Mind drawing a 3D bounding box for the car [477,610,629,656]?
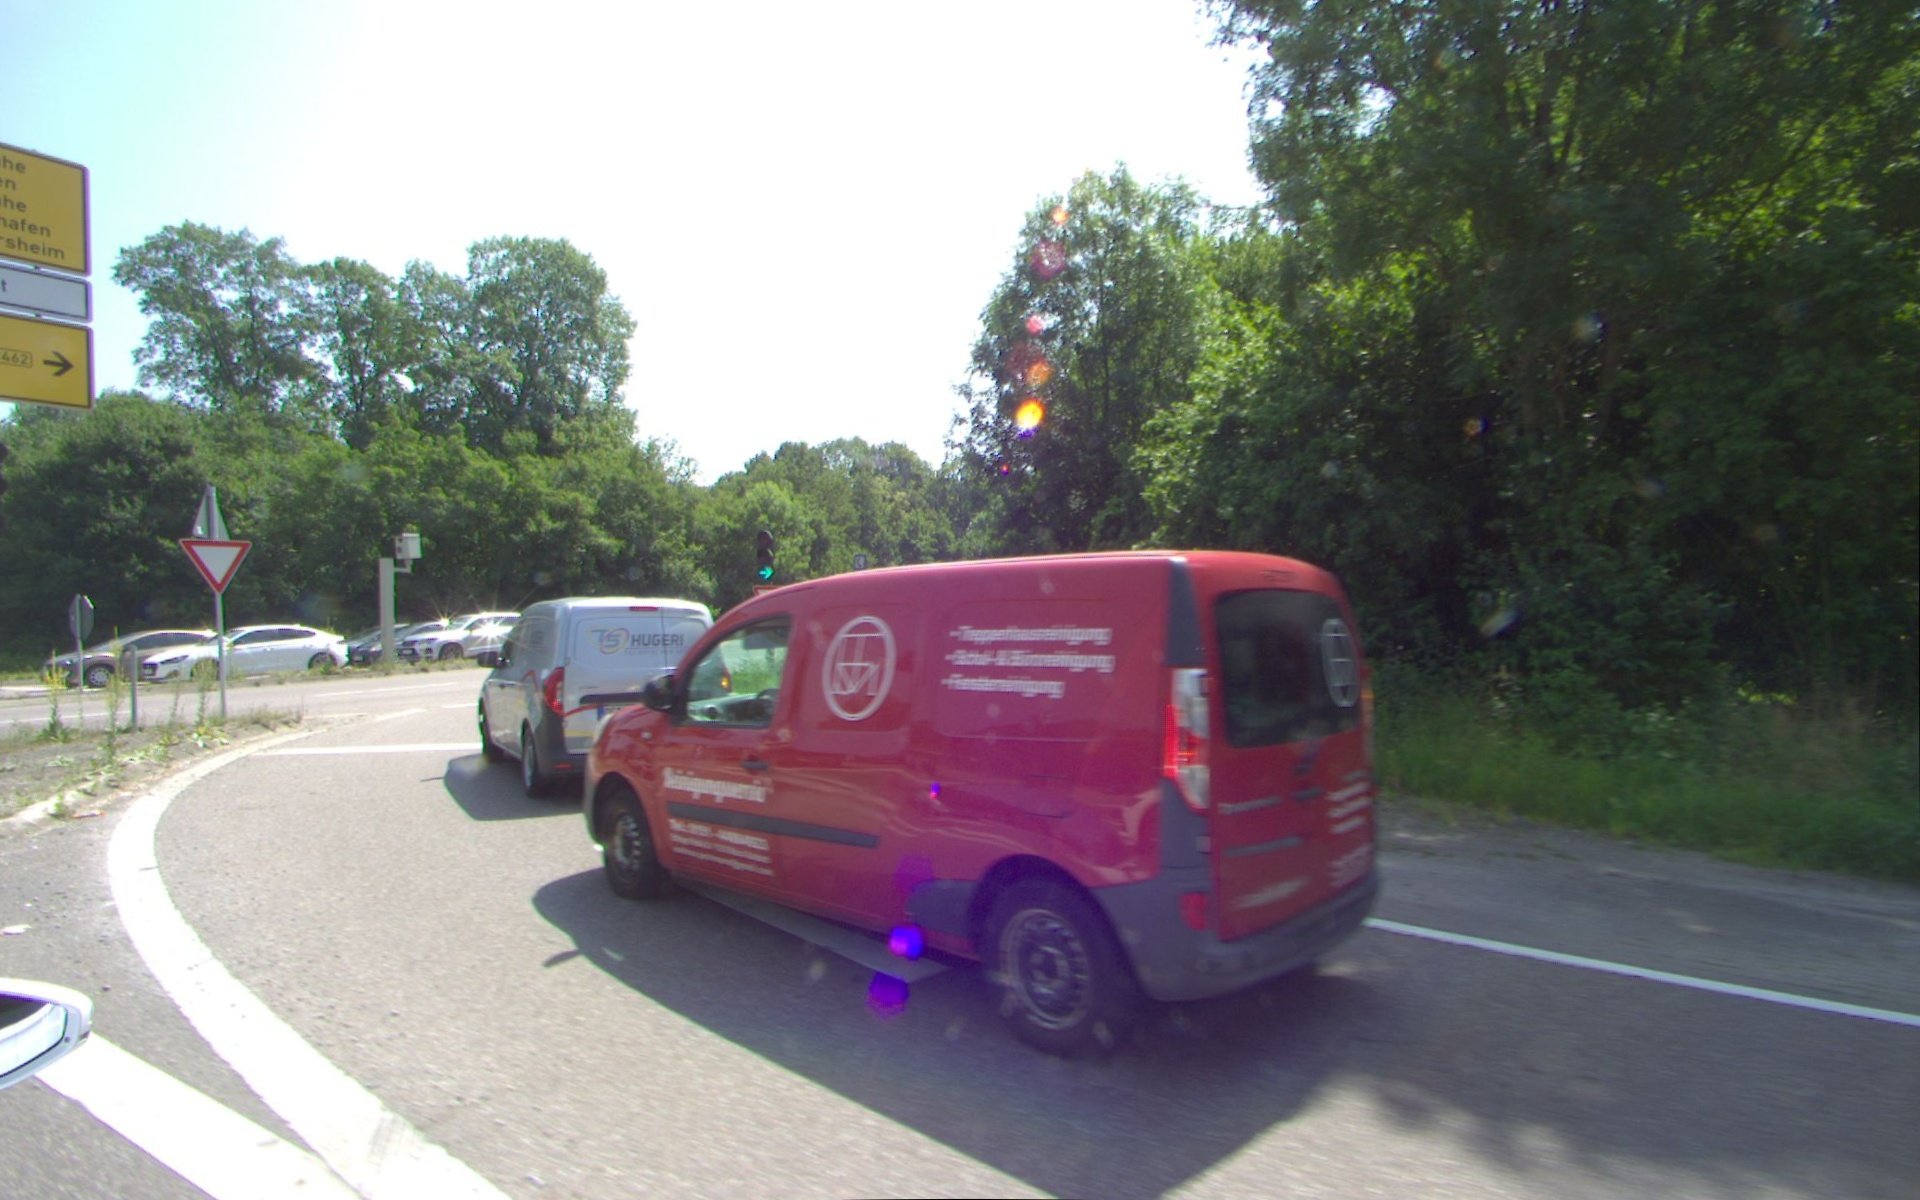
[{"bbox_3d":[-15.521,1.232,38.440,2.108,1.554,5.117,-2,0,32],"label":"car"}]

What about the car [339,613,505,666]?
[{"bbox_3d":[-17.852,1.285,33.398,2.092,1.555,4.410,-2,-1,32],"label":"car"}]

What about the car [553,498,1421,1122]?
[{"bbox_3d":[-0.244,0.685,5.163,4.449,1.846,1.782,-1,-2,44],"label":"car"}]

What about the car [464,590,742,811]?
[{"bbox_3d":[-3.854,0.851,10.351,1.739,1.796,4.086,-1,0,-34],"label":"car"}]

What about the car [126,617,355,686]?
[{"bbox_3d":[-18.565,1.264,26.057,1.971,1.555,4.412,-1,0,31],"label":"car"}]

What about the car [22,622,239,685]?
[{"bbox_3d":[-22.358,1.387,27.155,1.966,1.466,4.085,-1,0,30],"label":"car"}]

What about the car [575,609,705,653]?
[{"bbox_3d":[-11.786,1.128,37.138,1.946,1.433,4.320,-2,0,33],"label":"car"}]

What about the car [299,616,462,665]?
[{"bbox_3d":[-20.627,1.418,35.851,2.082,1.518,4.606,-2,-1,32],"label":"car"}]

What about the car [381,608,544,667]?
[{"bbox_3d":[-15.510,1.118,31.446,1.972,1.681,4.163,-1,0,32],"label":"car"}]
